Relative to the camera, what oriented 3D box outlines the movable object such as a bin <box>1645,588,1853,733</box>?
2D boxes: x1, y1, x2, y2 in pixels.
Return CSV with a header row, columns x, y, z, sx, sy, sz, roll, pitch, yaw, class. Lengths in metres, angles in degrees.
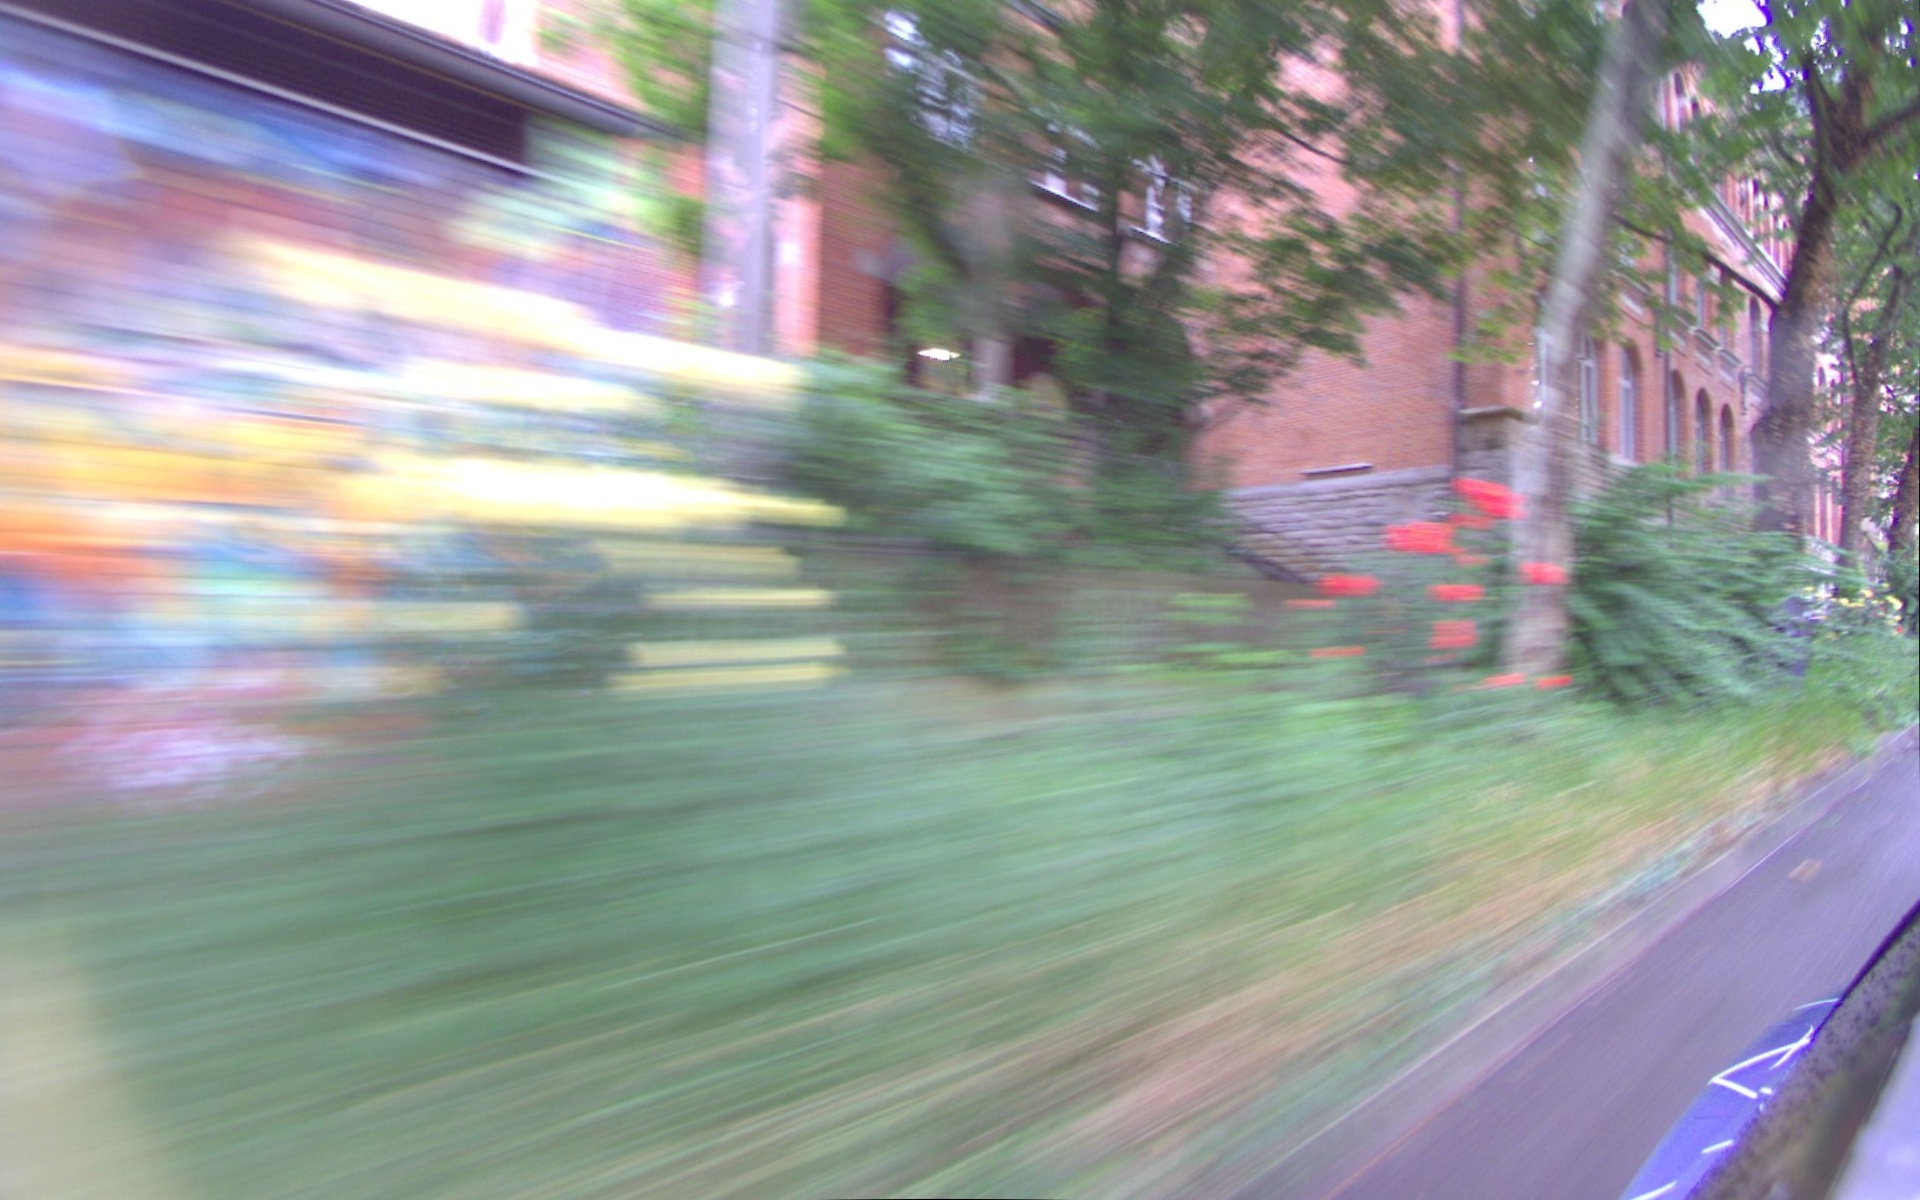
x,y,z,sx,sy,sz,roll,pitch,yaw,class
8.751,0.632,11.277,1.191,1.471,1.408,2,0,-25,movable object such as a bin
